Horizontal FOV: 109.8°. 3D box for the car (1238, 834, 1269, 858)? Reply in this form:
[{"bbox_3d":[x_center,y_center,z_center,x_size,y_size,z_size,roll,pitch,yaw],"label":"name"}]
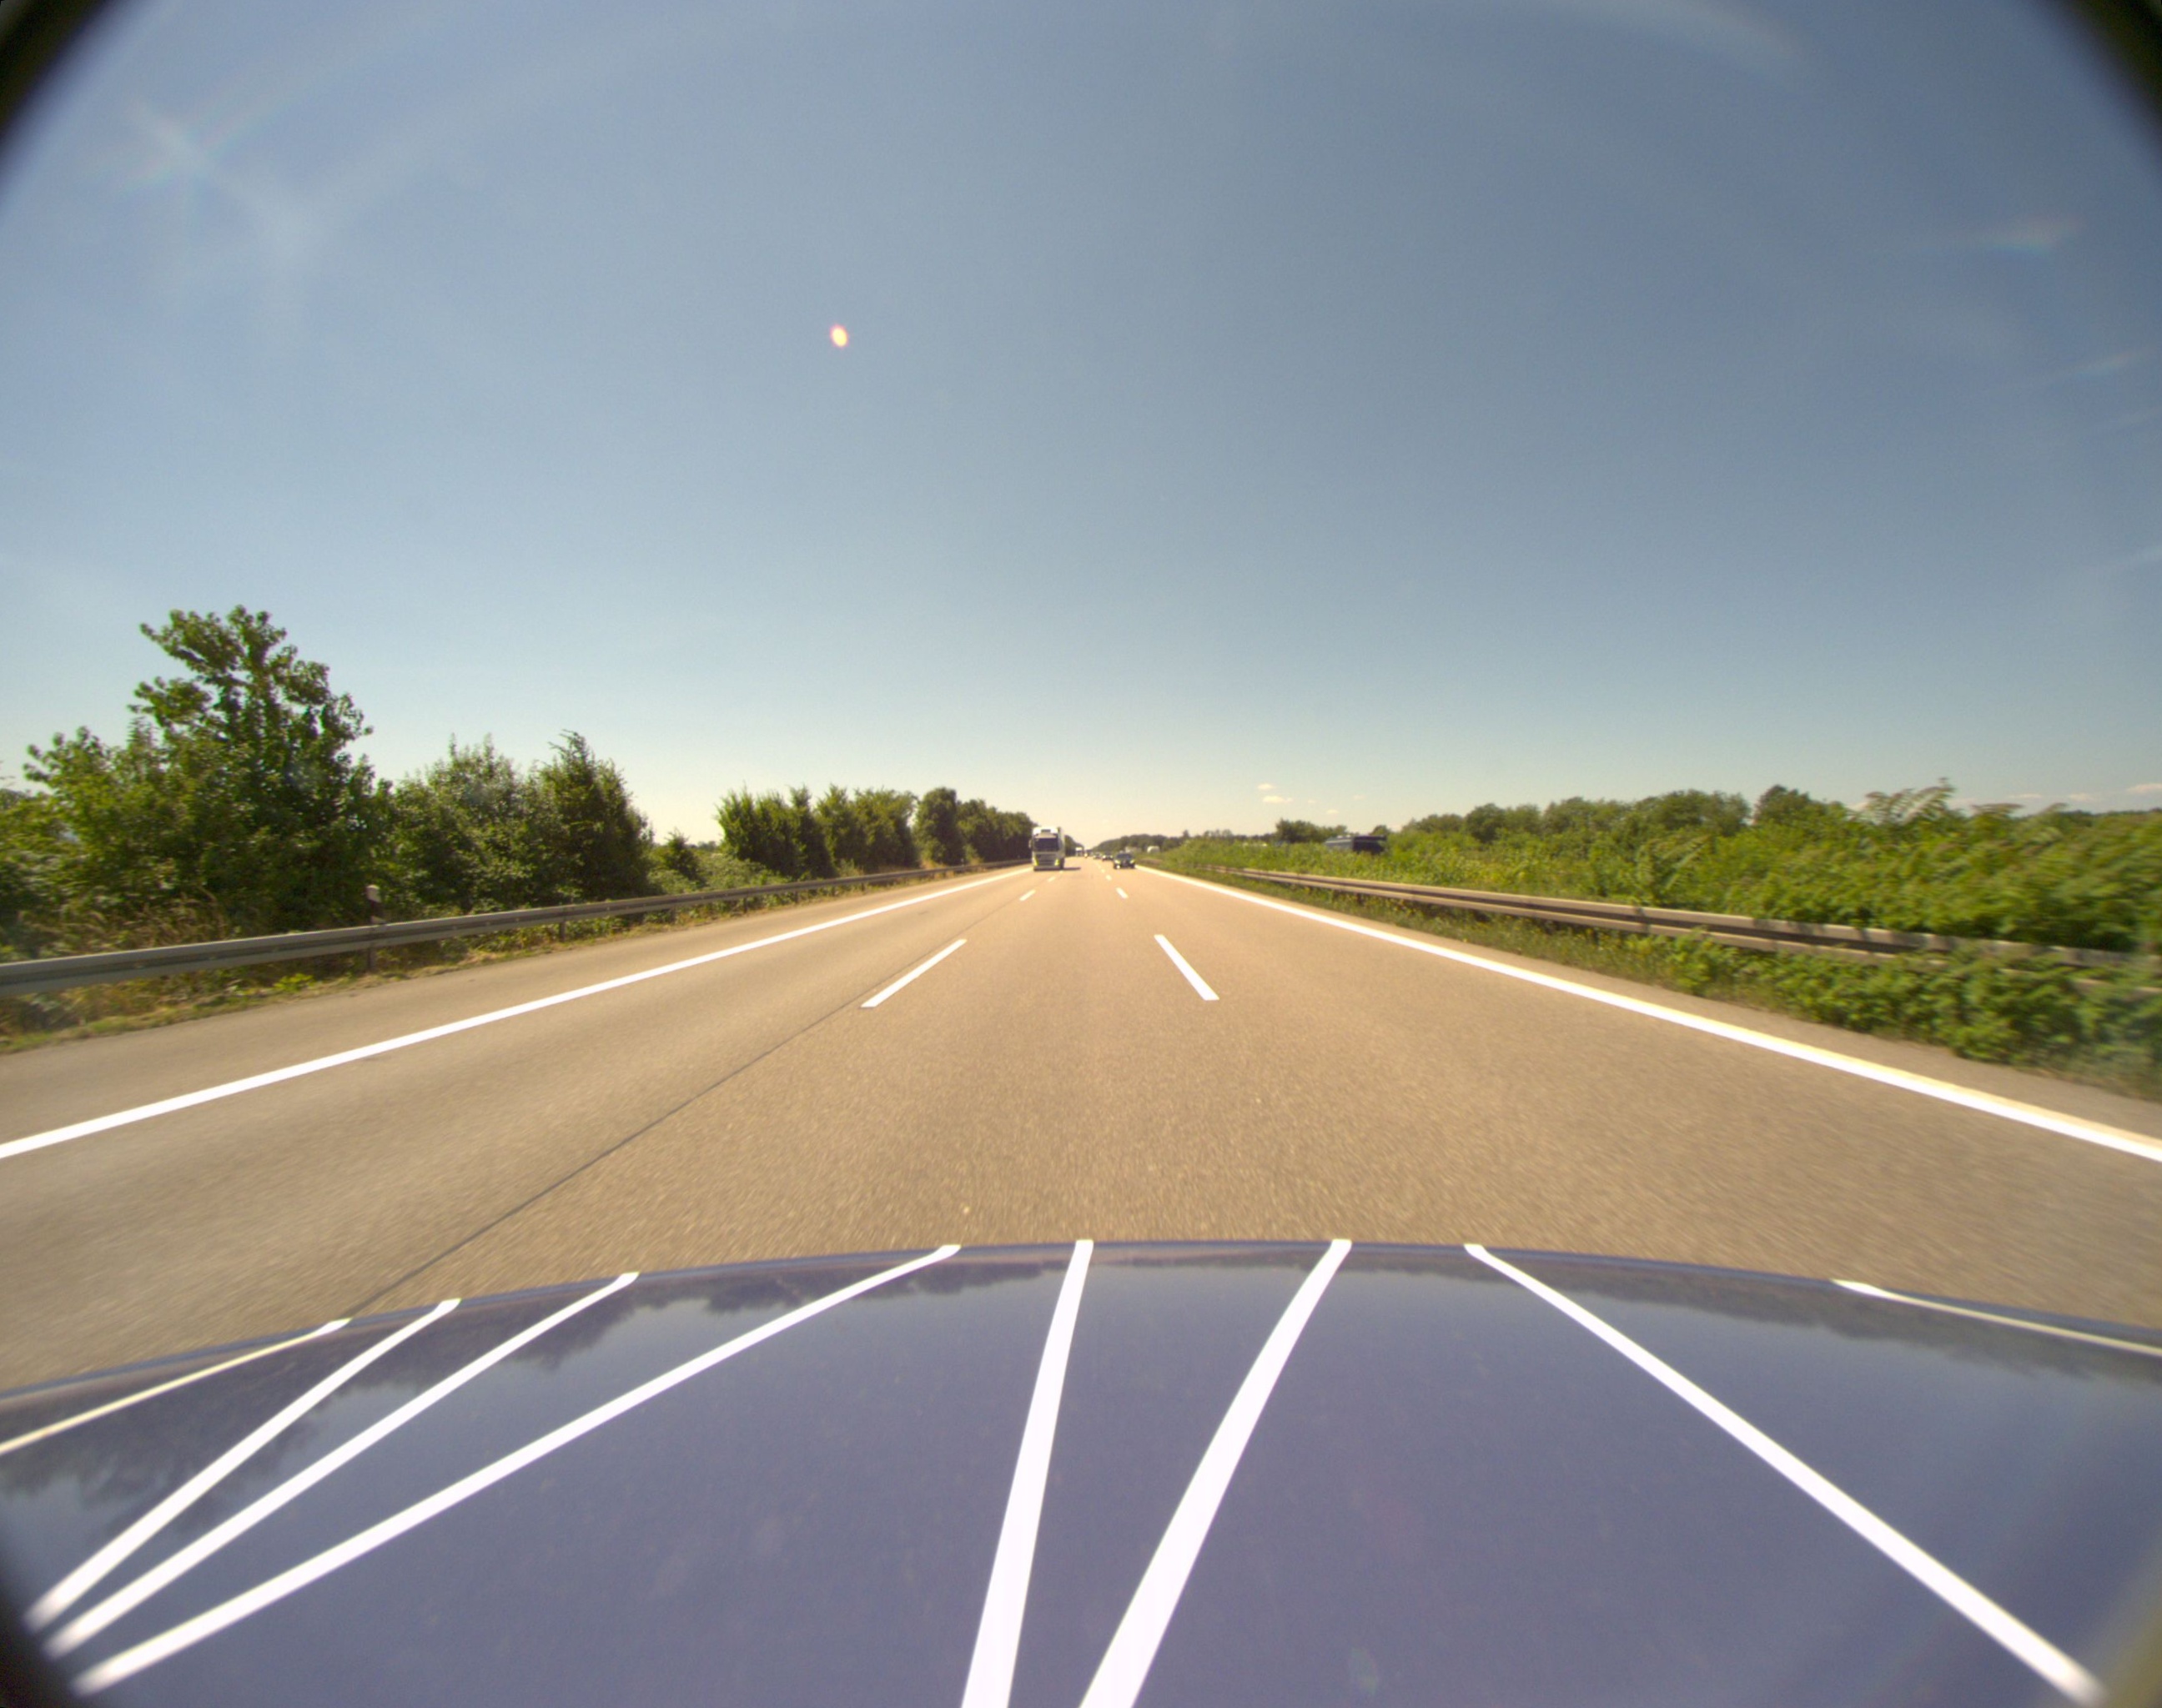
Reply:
[{"bbox_3d":[21.207,-0.996,93.722,2.476,2.693,5.519,-2,1,1],"label":"car"}]

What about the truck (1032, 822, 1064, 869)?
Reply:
[{"bbox_3d":[-2.996,-0.783,70.937,2.476,4.039,6.319,-2,1,1],"label":"truck"}]

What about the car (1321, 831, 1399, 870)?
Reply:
[{"bbox_3d":[15.171,-0.204,41.701,2.264,1.888,5.519,-2,0,1],"label":"car"}]

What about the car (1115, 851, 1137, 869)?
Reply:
[{"bbox_3d":[4.069,0.540,69.005,1.811,1.459,4.000,-2,0,1],"label":"car"}]

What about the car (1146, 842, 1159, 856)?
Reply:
[{"bbox_3d":[13.568,-0.972,143.756,1.811,2.486,6.777,-2,0,1],"label":"car"}]

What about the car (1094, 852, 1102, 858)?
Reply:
[{"bbox_3d":[3.858,0.186,176.306,1.811,1.417,4.000,-2,0,1],"label":"car"}]

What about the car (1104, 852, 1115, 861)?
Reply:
[{"bbox_3d":[4.879,0.486,129.355,1.811,1.417,4.000,-2,0,1],"label":"car"}]

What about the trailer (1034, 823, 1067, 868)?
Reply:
[{"bbox_3d":[-2.908,-0.811,76.726,2.476,4.038,13.879,-2,0,1],"label":"trailer"}]
